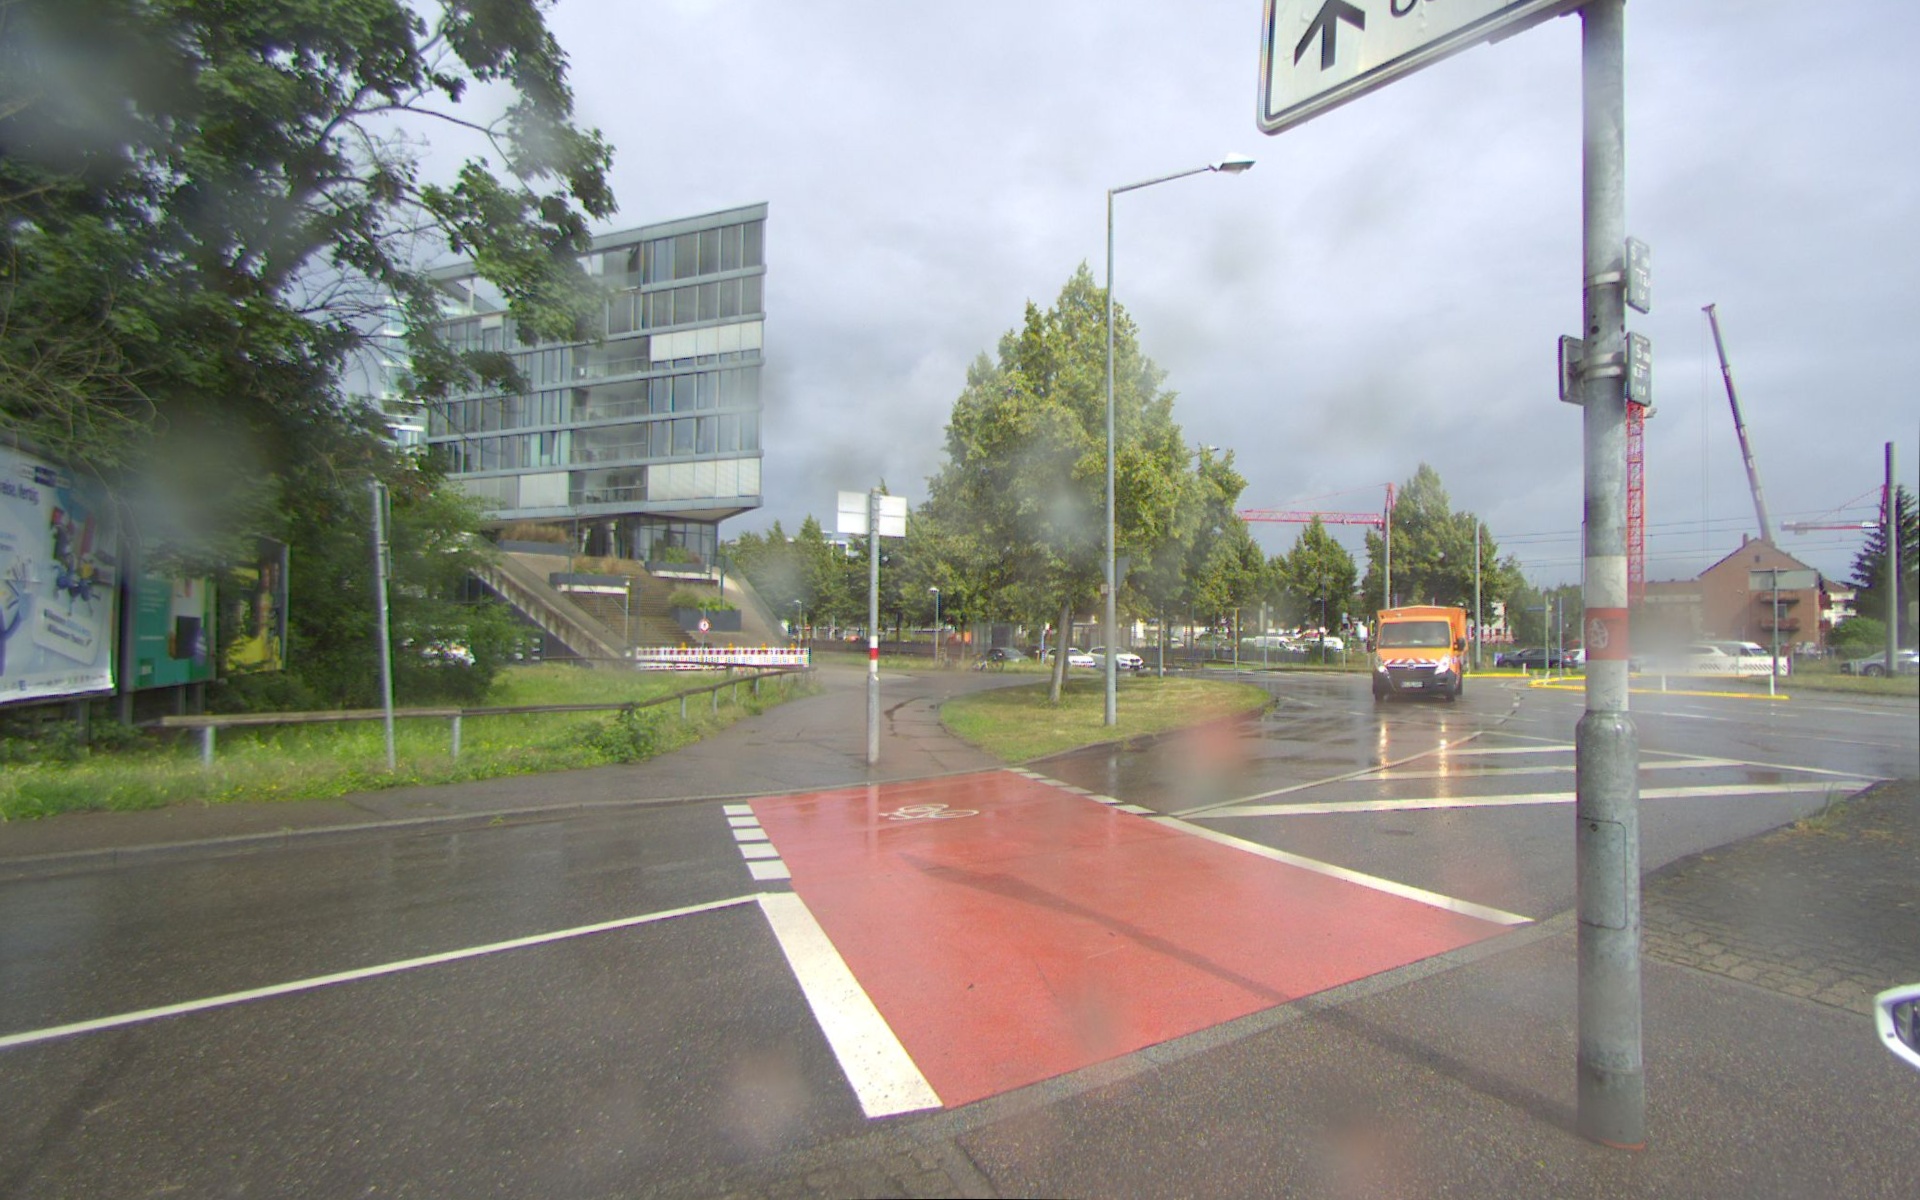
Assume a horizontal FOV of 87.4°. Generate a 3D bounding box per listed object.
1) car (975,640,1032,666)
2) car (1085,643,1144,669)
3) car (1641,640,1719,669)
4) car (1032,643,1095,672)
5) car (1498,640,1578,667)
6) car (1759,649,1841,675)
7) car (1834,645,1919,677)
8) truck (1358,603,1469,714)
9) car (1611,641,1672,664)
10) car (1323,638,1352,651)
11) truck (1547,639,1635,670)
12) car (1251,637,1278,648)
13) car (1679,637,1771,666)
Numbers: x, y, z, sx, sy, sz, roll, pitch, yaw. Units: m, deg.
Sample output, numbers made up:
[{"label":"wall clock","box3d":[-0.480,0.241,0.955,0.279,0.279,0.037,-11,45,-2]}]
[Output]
[{"label":"car","box3d":[2.916,3.574,68.010,1.844,1.693,4.438,1,-4,-29]},{"label":"car","box3d":[9.584,3.459,62.430,1.704,1.528,3.878,1,-2,-27]},{"label":"car","box3d":[40.165,3.018,56.127,3.439,1.530,1.497,0,-2,32]},{"label":"car","box3d":[6.290,3.539,61.486,1.841,1.693,4.445,1,-4,-25]},{"label":"car","box3d":[34.732,3.207,60.392,3.936,1.537,1.796,-1,-2,37]},{"label":"car","box3d":[58.561,4.335,70.092,3.919,1.706,2.001,0,-2,5]},{"label":"car","box3d":[48.416,3.175,52.630,3.604,1.581,1.575,0,-1,16]},{"label":"truck","box3d":[13.066,1.584,28.654,2.417,2.762,6.936,-1,-2,28]},{"label":"car","box3d":[59.228,4.531,87.333,1.903,1.723,3.976,2,0,-24]},{"label":"car","box3d":[51.931,6.062,138.183,1.482,1.745,3.572,1,-2,-30]},{"label":"truck","box3d":[52.814,4.508,84.202,2.361,2.241,6.074,2,0,-19]},{"label":"car","box3d":[42.334,5.914,139.658,1.531,1.581,3.475,1,-2,-28]},{"label":"car","box3d":[66.596,4.440,87.590,2.012,2.113,6.237,2,0,-20]}]
